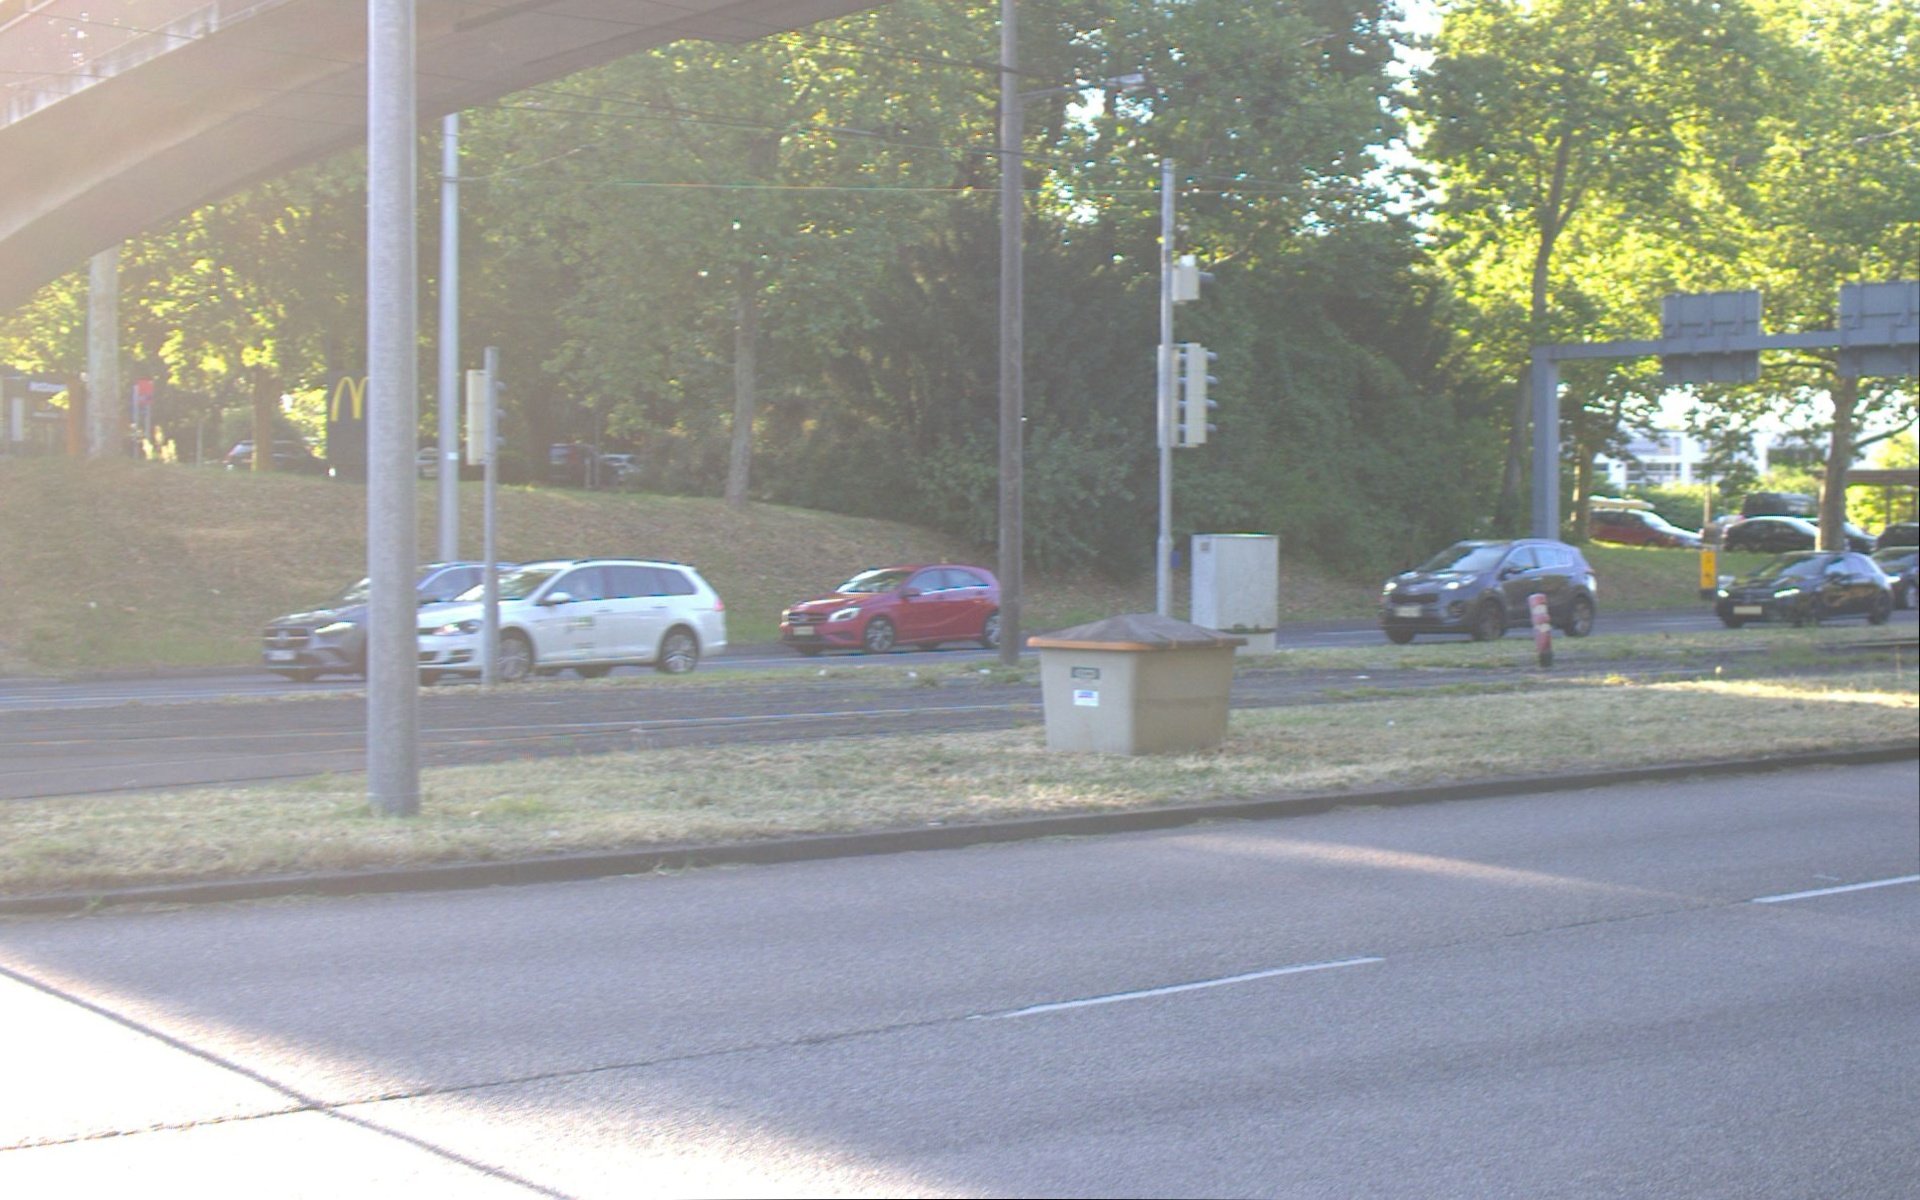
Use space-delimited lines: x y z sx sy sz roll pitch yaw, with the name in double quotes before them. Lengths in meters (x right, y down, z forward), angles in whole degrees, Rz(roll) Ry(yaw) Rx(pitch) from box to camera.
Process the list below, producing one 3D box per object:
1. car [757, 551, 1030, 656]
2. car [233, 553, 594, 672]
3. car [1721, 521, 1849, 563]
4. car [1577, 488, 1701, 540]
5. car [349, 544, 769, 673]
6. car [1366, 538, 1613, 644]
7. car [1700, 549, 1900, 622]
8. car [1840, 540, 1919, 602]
"car" -1.052 0.036 55.894 4.345 1.645 1.795 0 1 -43
"car" -7.012 0.134 44.393 2.010 1.438 4.242 2 1 43
"car" 29.381 -2.069 122.500 4.066 1.382 1.779 3 3 43
"car" 24.975 -3.169 126.534 1.995 1.853 3.998 -1 2 -45
"car" -4.754 0.073 41.316 2.010 1.438 4.848 2 1 43
"car" 8.612 -0.161 55.707 1.795 1.645 4.346 2 1 43
"car" 15.739 -0.275 64.307 1.691 1.305 4.298 2 1 44
"car" 22.874 -0.701 82.532 1.690 1.411 4.182 2 2 41
